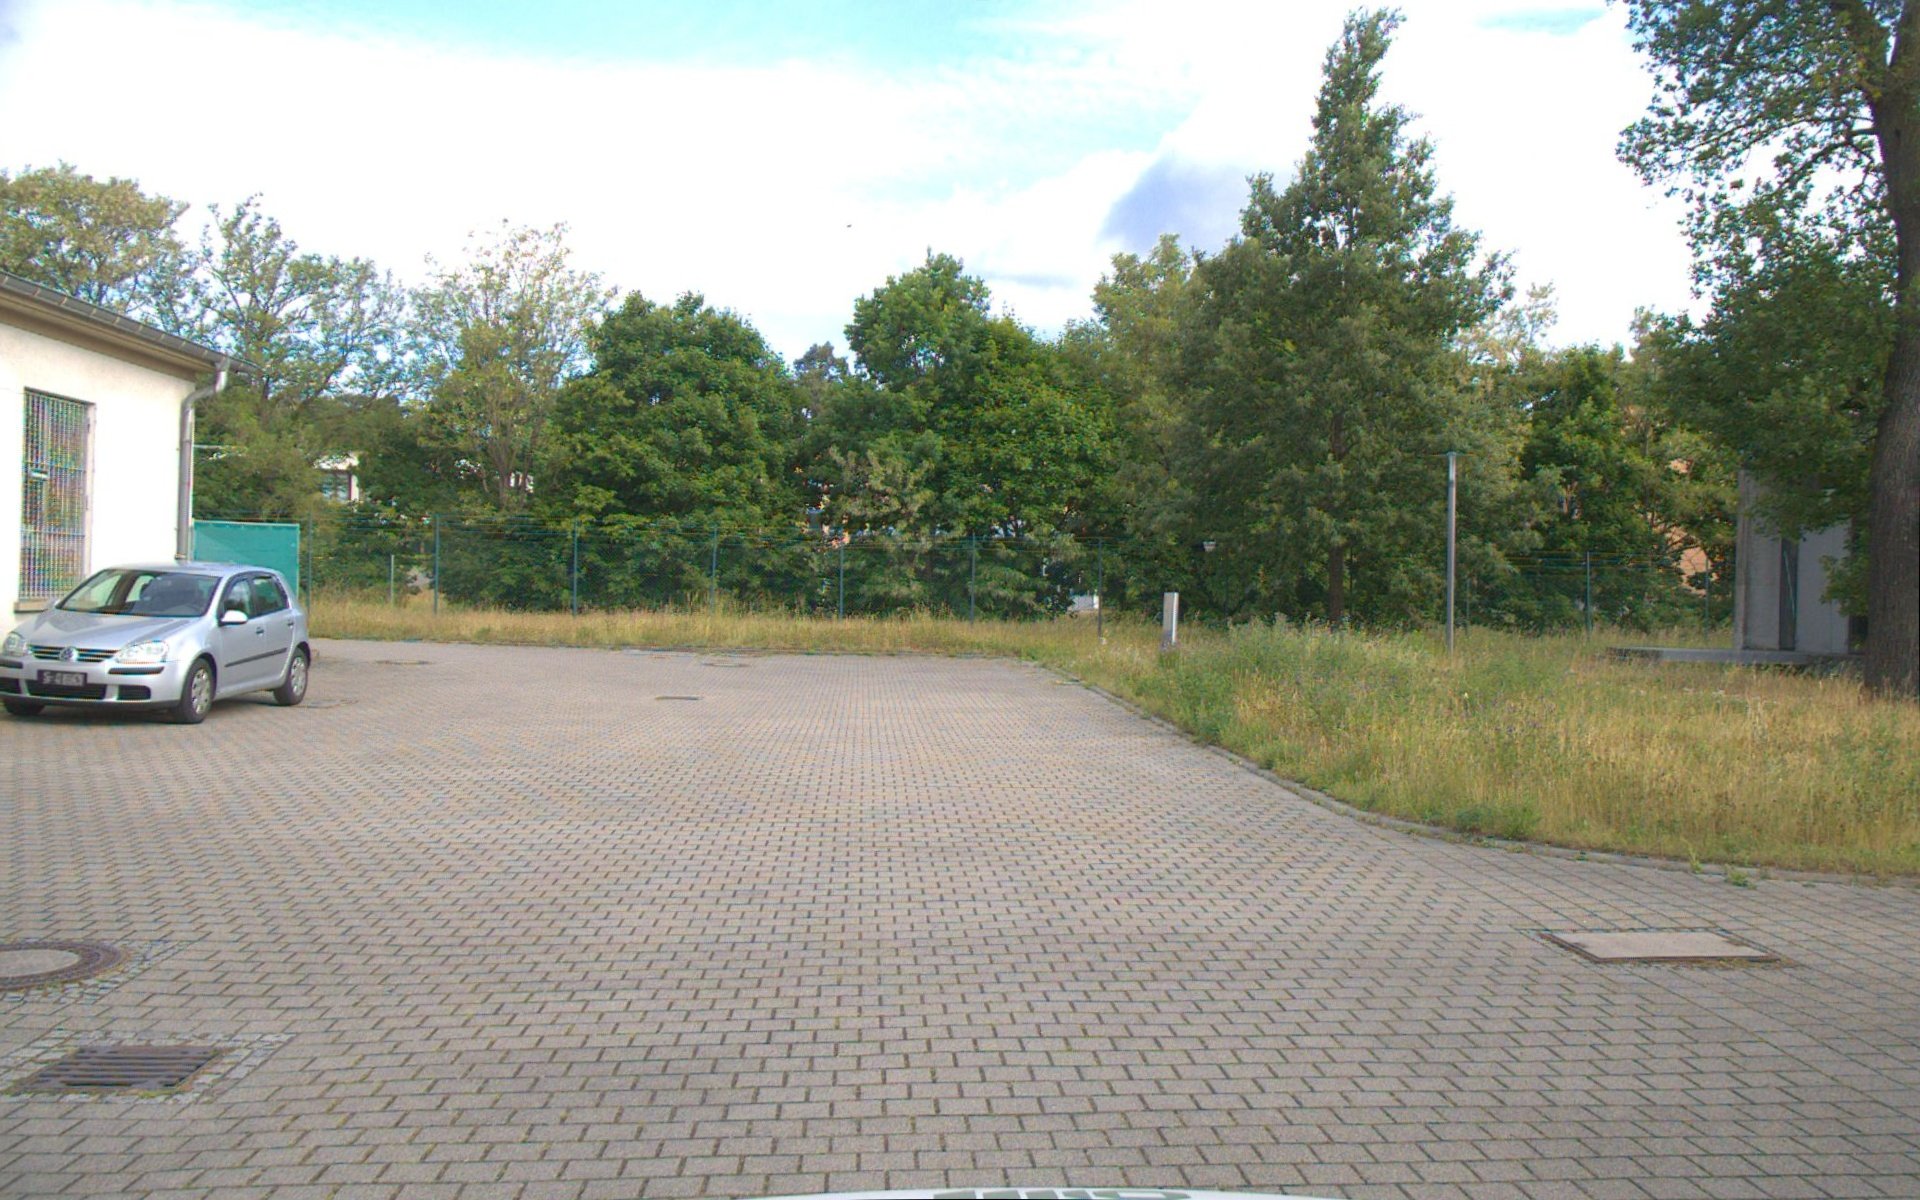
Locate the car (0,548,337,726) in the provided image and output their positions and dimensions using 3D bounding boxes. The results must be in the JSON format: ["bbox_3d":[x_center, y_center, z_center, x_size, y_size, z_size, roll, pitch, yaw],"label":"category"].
[{"bbox_3d":[-7.975,0.290,16.748,1.887,1.464,4.364,4,1,-5],"label":"car"}]
